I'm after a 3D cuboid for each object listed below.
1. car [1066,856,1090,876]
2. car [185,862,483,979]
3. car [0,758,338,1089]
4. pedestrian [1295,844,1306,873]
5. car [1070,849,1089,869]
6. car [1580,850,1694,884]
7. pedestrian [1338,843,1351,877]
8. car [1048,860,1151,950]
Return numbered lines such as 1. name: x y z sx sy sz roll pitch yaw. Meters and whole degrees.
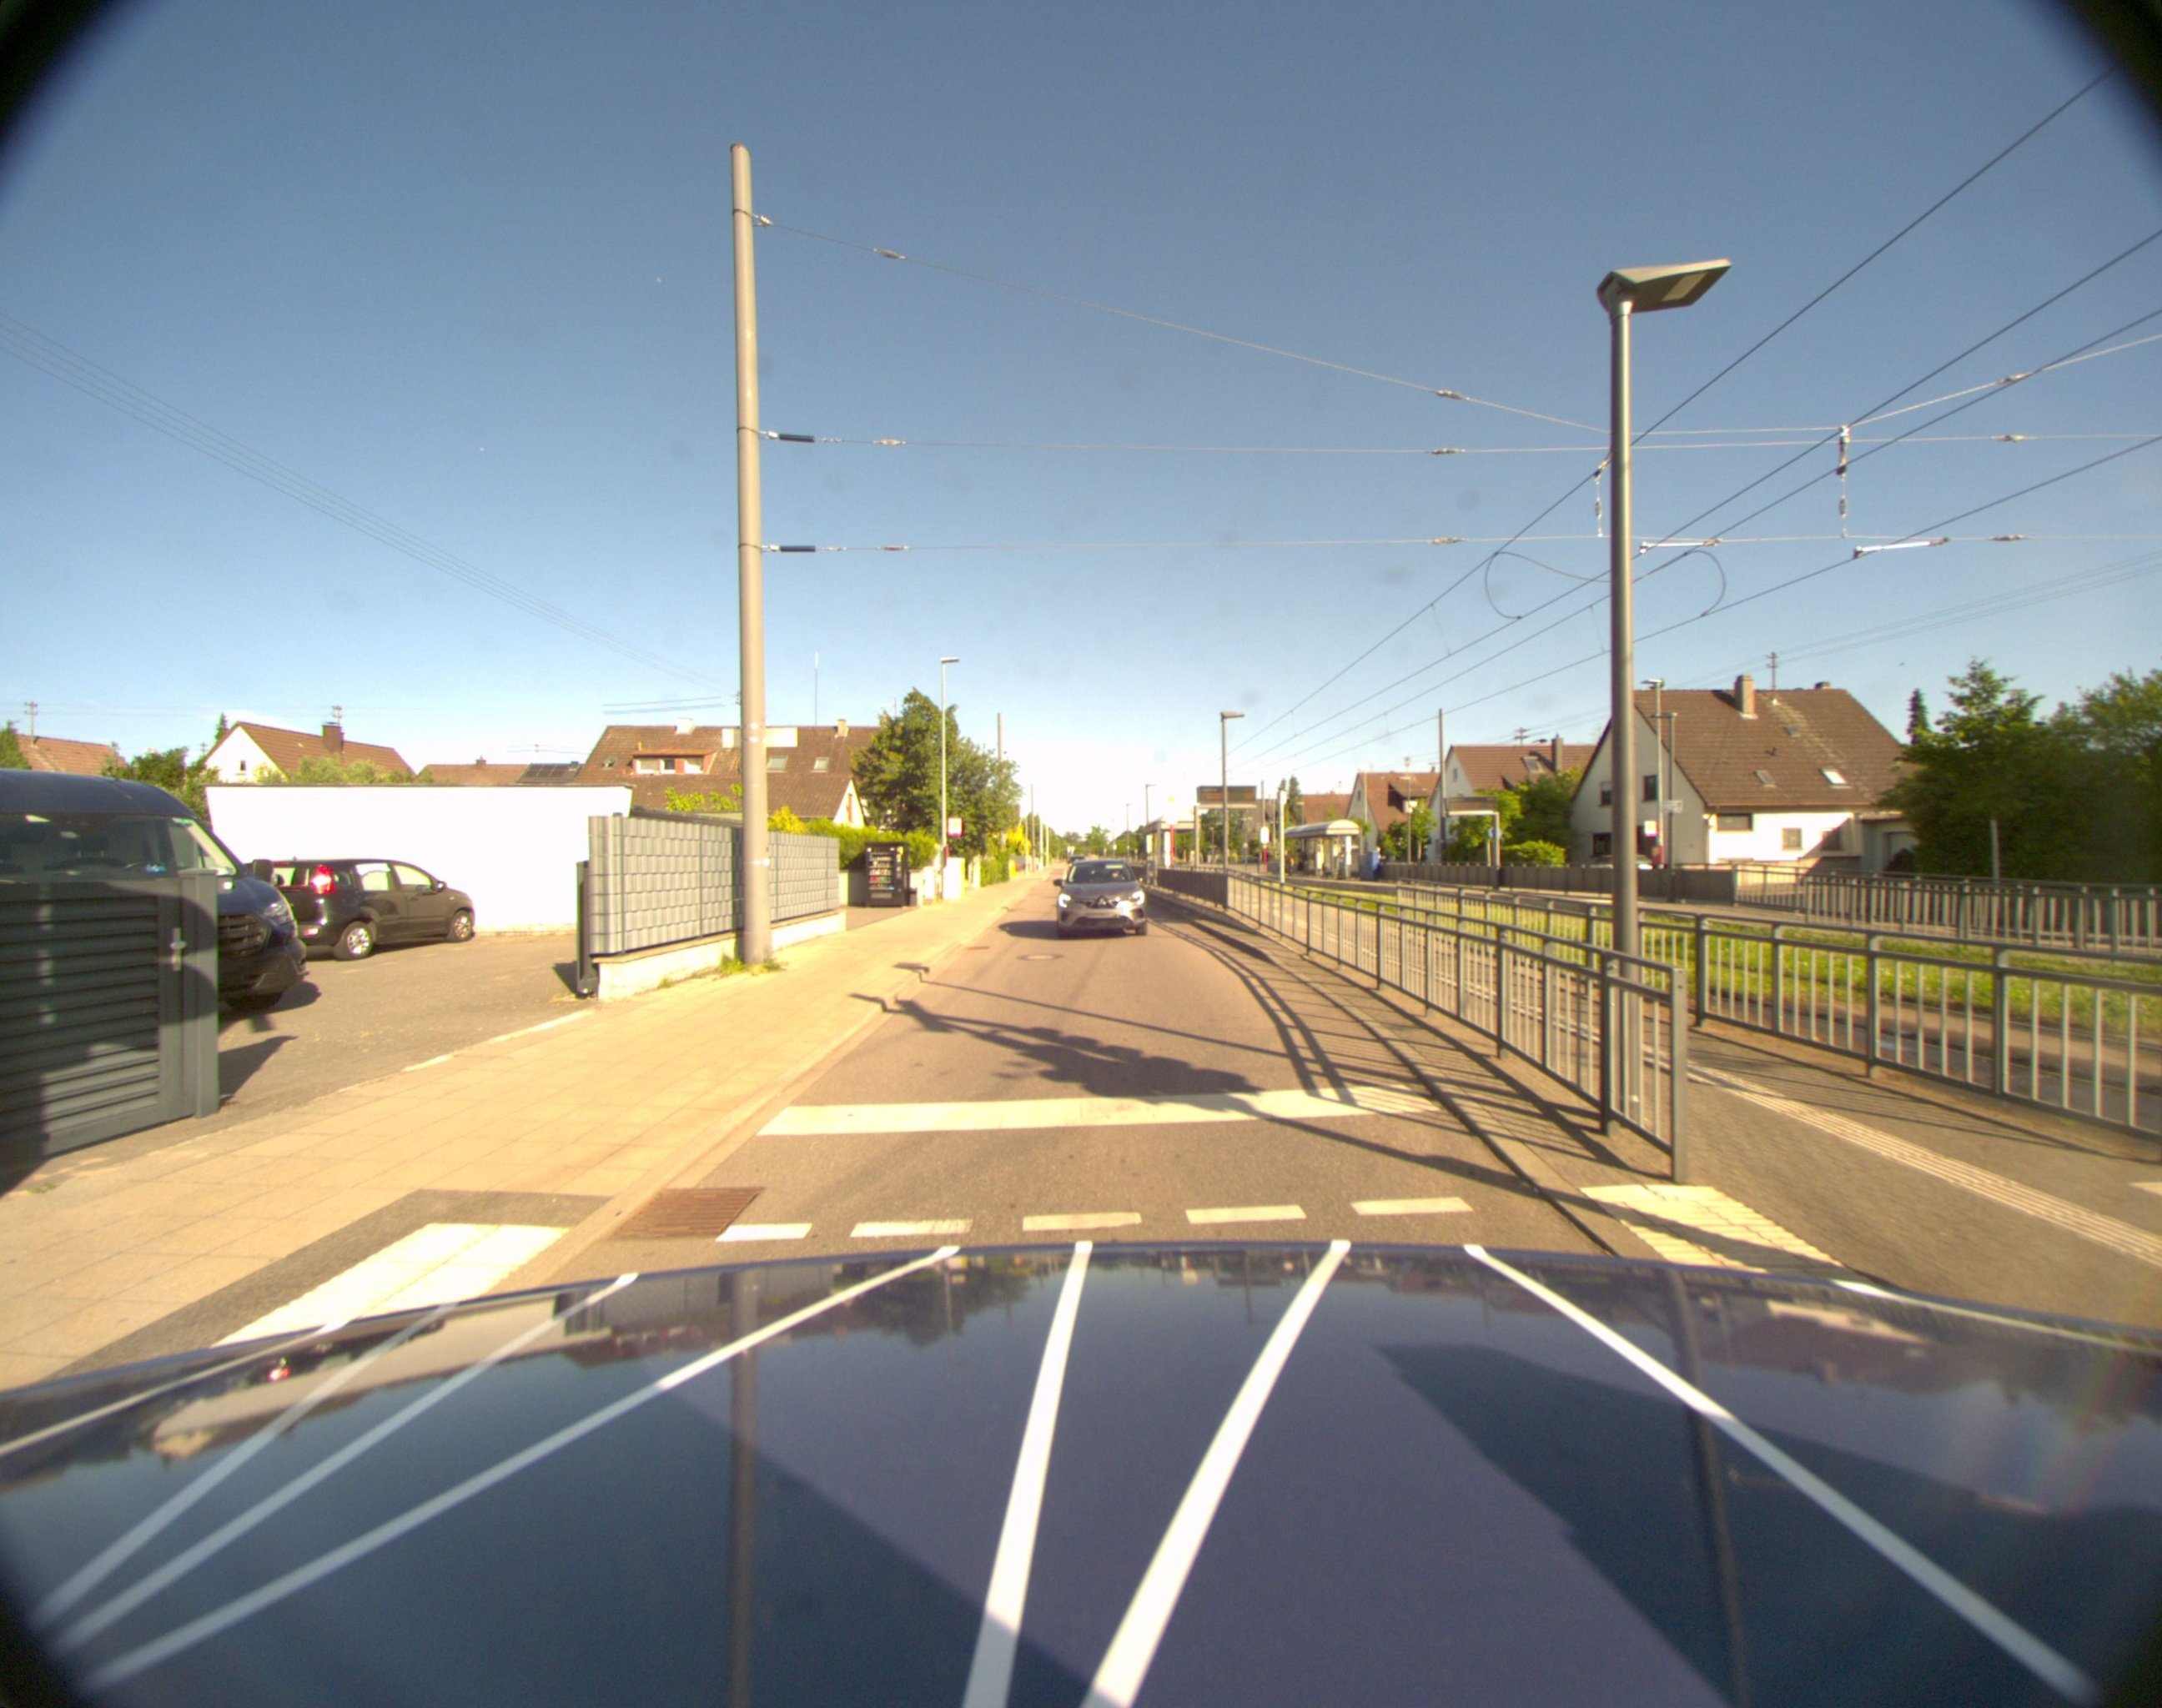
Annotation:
1. car: -0.218 0.871 57.813 1.687 1.379 4.000 -2 0 1
2. car: -11.535 0.925 12.100 1.561 1.453 3.486 -2 1 -8
3. car: -10.018 0.512 7.068 4.983 2.418 2.002 -1 2 14
4. pedestrian: 13.463 0.288 46.636 0.534 1.742 0.543 -1 0 0
5. car: -0.124 0.578 91.656 2.089 2.226 4.722 -2 0 1
6. car: 26.378 0.611 36.126 3.989 1.526 1.999 -1 0 -3
7. pedestrian: 13.658 0.309 39.397 0.622 1.742 0.442 0 0 20
8. car: 0.422 0.959 16.131 1.829 1.570 4.001 -3 0 2
